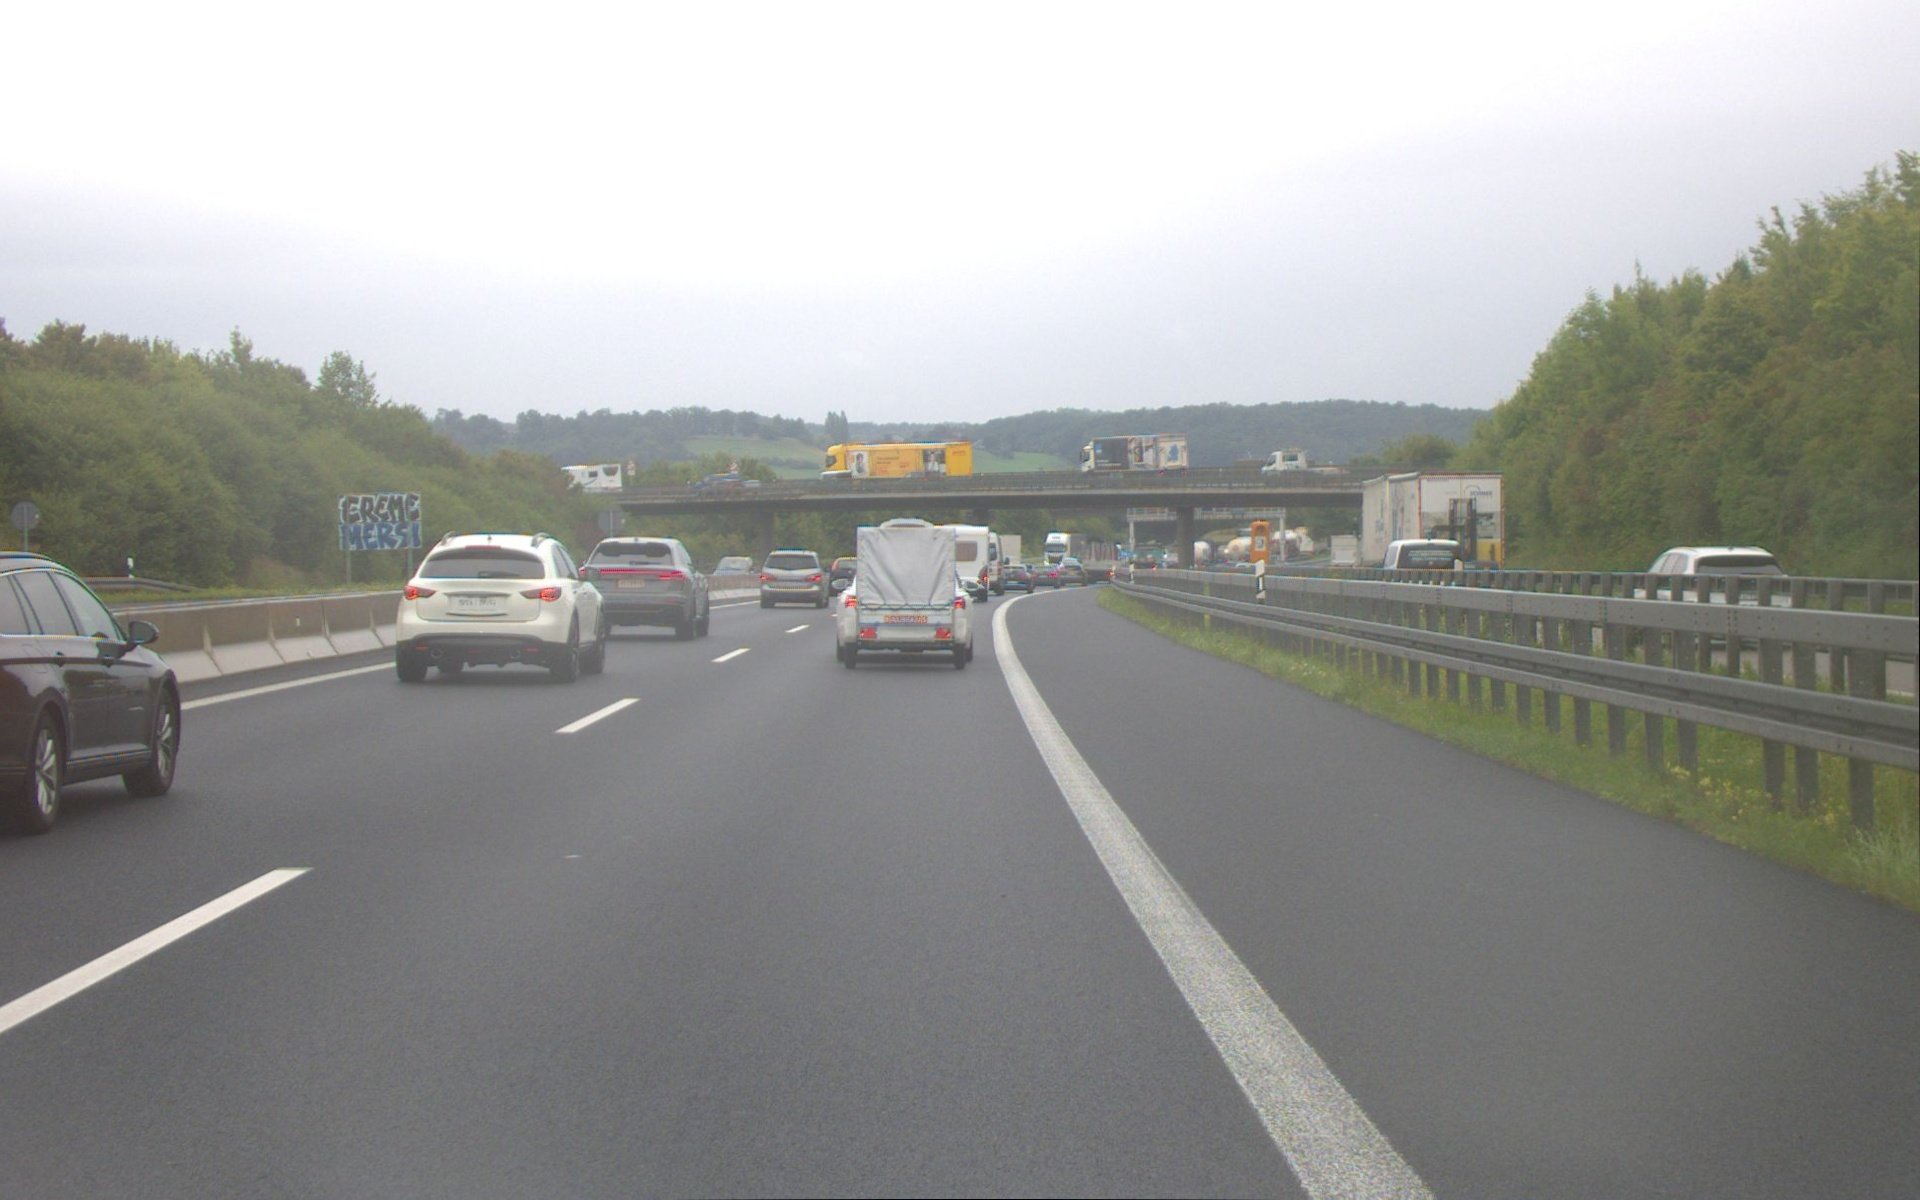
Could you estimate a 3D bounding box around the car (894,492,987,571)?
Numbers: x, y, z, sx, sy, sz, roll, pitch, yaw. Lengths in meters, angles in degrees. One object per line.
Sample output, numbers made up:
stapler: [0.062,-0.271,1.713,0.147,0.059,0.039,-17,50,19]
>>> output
car: [-0.623,-2.351,117.076,3.017,2.607,6.074,0,1,1]

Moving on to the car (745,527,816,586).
car: [-4.969,-1.236,95.700,1.900,1.607,4.017,0,1,-2]

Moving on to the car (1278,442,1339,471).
car: [23.897,-9.821,235.603,1.838,1.908,3.999,0,1,-39]

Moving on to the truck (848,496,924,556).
truck: [-4.414,-4.455,208.566,3.766,3.542,13.186,0,1,2]

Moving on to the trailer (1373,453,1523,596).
trailer: [15.231,-2.383,108.098,3.437,4.274,10.454,0,1,1]

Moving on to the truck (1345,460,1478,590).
truck: [15.459,-2.571,118.463,3.437,4.274,10.418,0,1,1]

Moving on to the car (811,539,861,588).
car: [-4.668,-1.396,129.357,1.841,1.813,4.001,0,1,-2]

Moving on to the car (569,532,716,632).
car: [-5.316,-0.326,58.075,2.174,1.626,4.501,0,1,-1]

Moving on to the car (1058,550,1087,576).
car: [7.891,-2.610,241.163,1.993,1.744,4.000,1,1,2]

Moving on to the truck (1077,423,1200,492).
truck: [13.035,-10.427,252.201,3.766,4.819,10.044,0,1,-34]

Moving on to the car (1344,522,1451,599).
car: [10.491,-0.974,82.701,1.860,1.799,4.648,0,1,-2]

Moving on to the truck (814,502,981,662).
truck: [-0.752,-0.306,46.173,2.019,1.978,7.213,0,1,1]

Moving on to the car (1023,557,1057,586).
car: [4.953,-1.805,213.485,1.993,1.744,4.000,1,1,1]

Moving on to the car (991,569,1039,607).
car: [2.633,-0.585,166.116,1.993,1.744,4.001,1,1,-3]

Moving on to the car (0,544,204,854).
car: [-5.601,0.443,18.843,1.900,1.492,4.852,0,1,-1]

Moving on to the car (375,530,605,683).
car: [-5.245,0.032,38.928,1.976,1.633,4.501,0,1,0]

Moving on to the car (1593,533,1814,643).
car: [10.910,-0.212,50.795,2.007,1.543,4.696,0,1,-3]
